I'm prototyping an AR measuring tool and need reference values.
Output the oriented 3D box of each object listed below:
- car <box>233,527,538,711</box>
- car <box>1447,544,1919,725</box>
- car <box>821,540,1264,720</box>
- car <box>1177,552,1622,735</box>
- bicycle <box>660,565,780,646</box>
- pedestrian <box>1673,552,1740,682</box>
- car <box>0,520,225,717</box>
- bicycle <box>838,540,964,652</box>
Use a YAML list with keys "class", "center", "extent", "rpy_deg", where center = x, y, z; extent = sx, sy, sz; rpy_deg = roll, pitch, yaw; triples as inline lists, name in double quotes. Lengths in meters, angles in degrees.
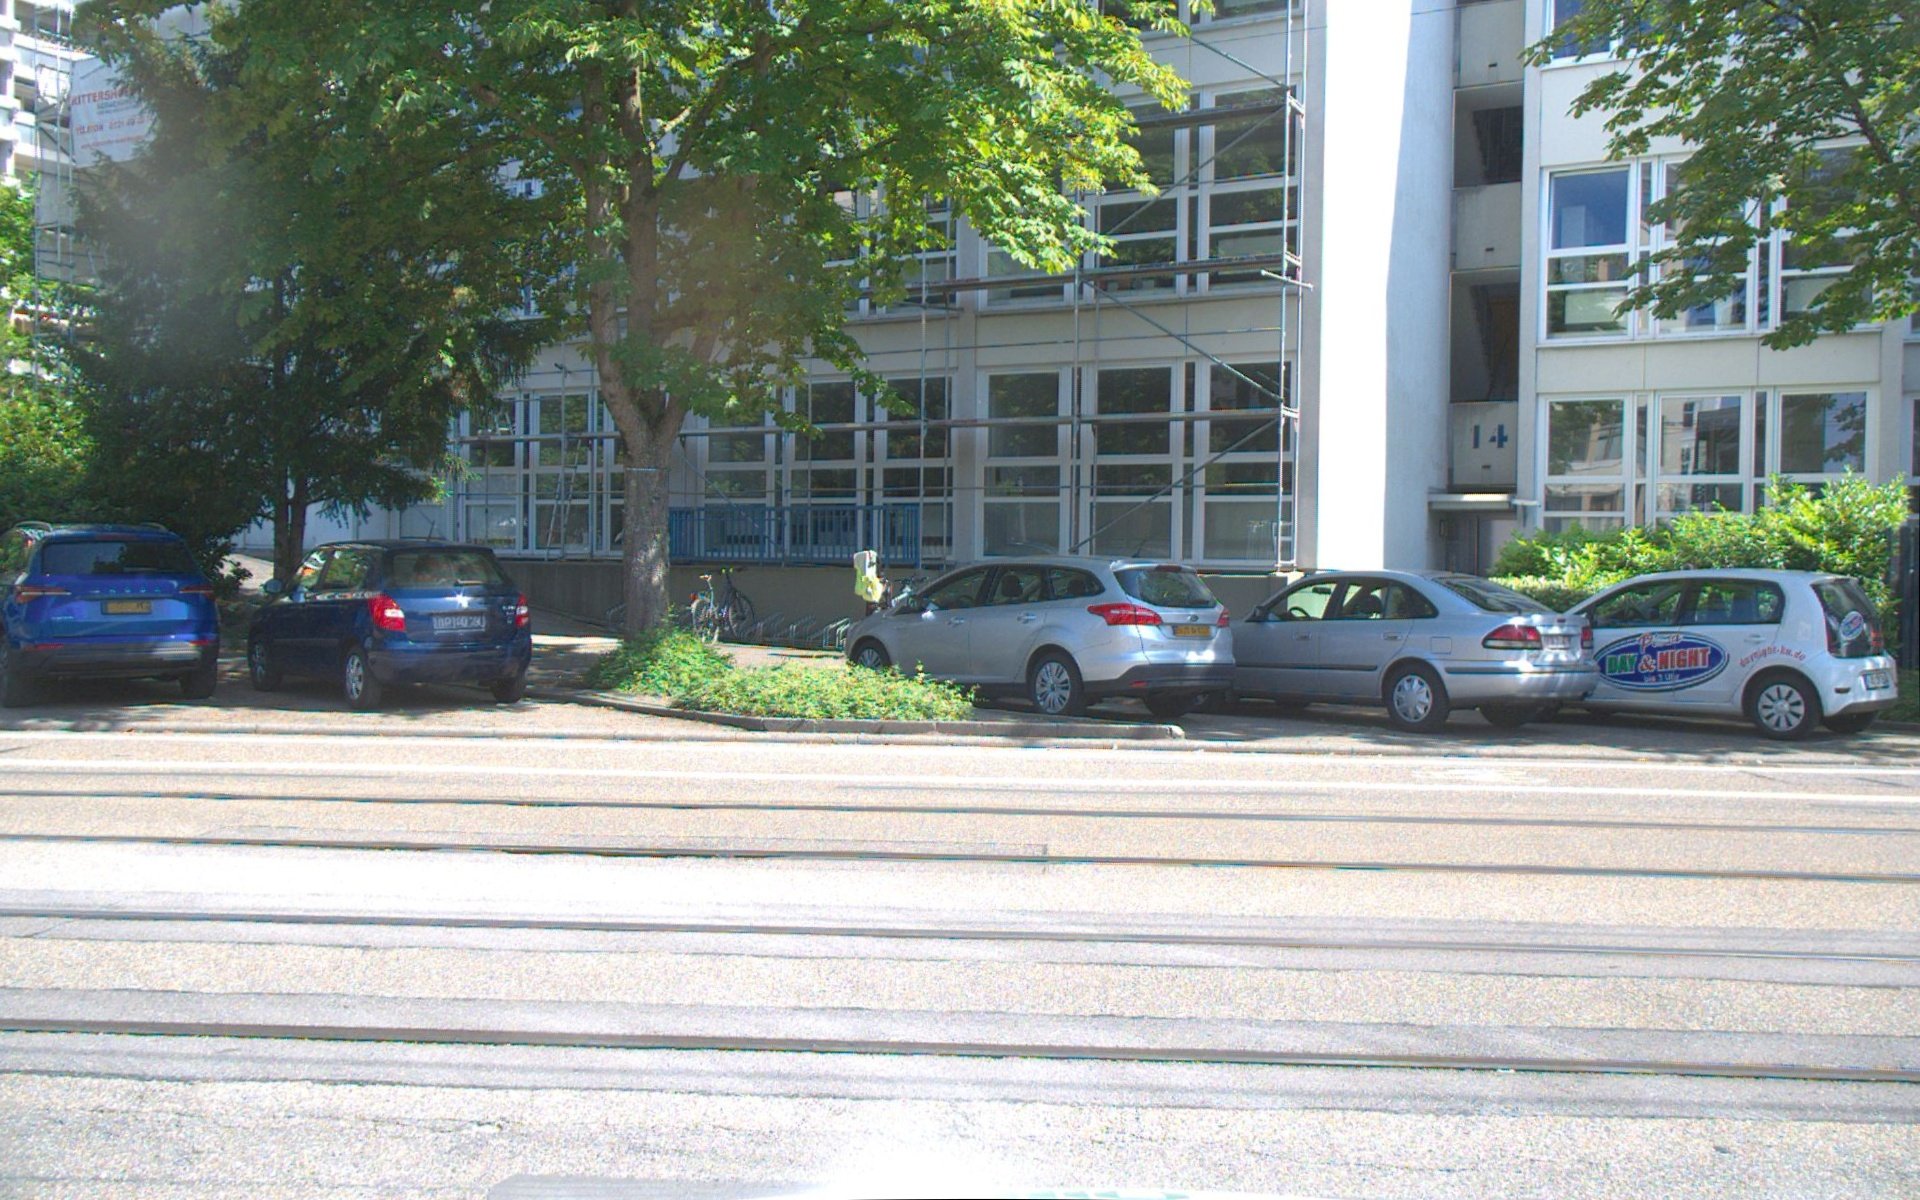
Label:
- class: "car"
  center: [-5.575, 0.125, 15.864]
  extent: [1.564, 1.557, 3.404]
  rpy_deg: [-1, 1, -43]
- class: "car"
  center: [6.798, 0.282, 15.793]
  extent: [1.599, 1.512, 3.885]
  rpy_deg: [-1, 0, -41]
- class: "car"
  center: [0.670, 0.207, 16.124]
  extent: [1.770, 1.512, 4.366]
  rpy_deg: [-1, 1, -42]
- class: "car"
  center: [4.041, 0.318, 15.688]
  extent: [1.598, 1.512, 3.887]
  rpy_deg: [-1, 1, -40]
- class: "bicycle"
  center: [-3.412, 0.052, 23.740]
  extent: [0.725, 1.105, 2.203]
  rpy_deg: [0, 1, 20]
- class: "pedestrian"
  center: [8.625, 0.190, 19.123]
  extent: [0.607, 1.486, 0.425]
  rpy_deg: [0, 1, 8]
- class: "car"
  center: [-8.561, 0.059, 15.997]
  extent: [1.763, 1.650, 3.892]
  rpy_deg: [-2, 3, -38]
- class: "bicycle"
  center: [-0.783, -0.071, 22.705]
  extent: [0.649, 1.479, 2.084]
  rpy_deg: [1, 1, 33]
